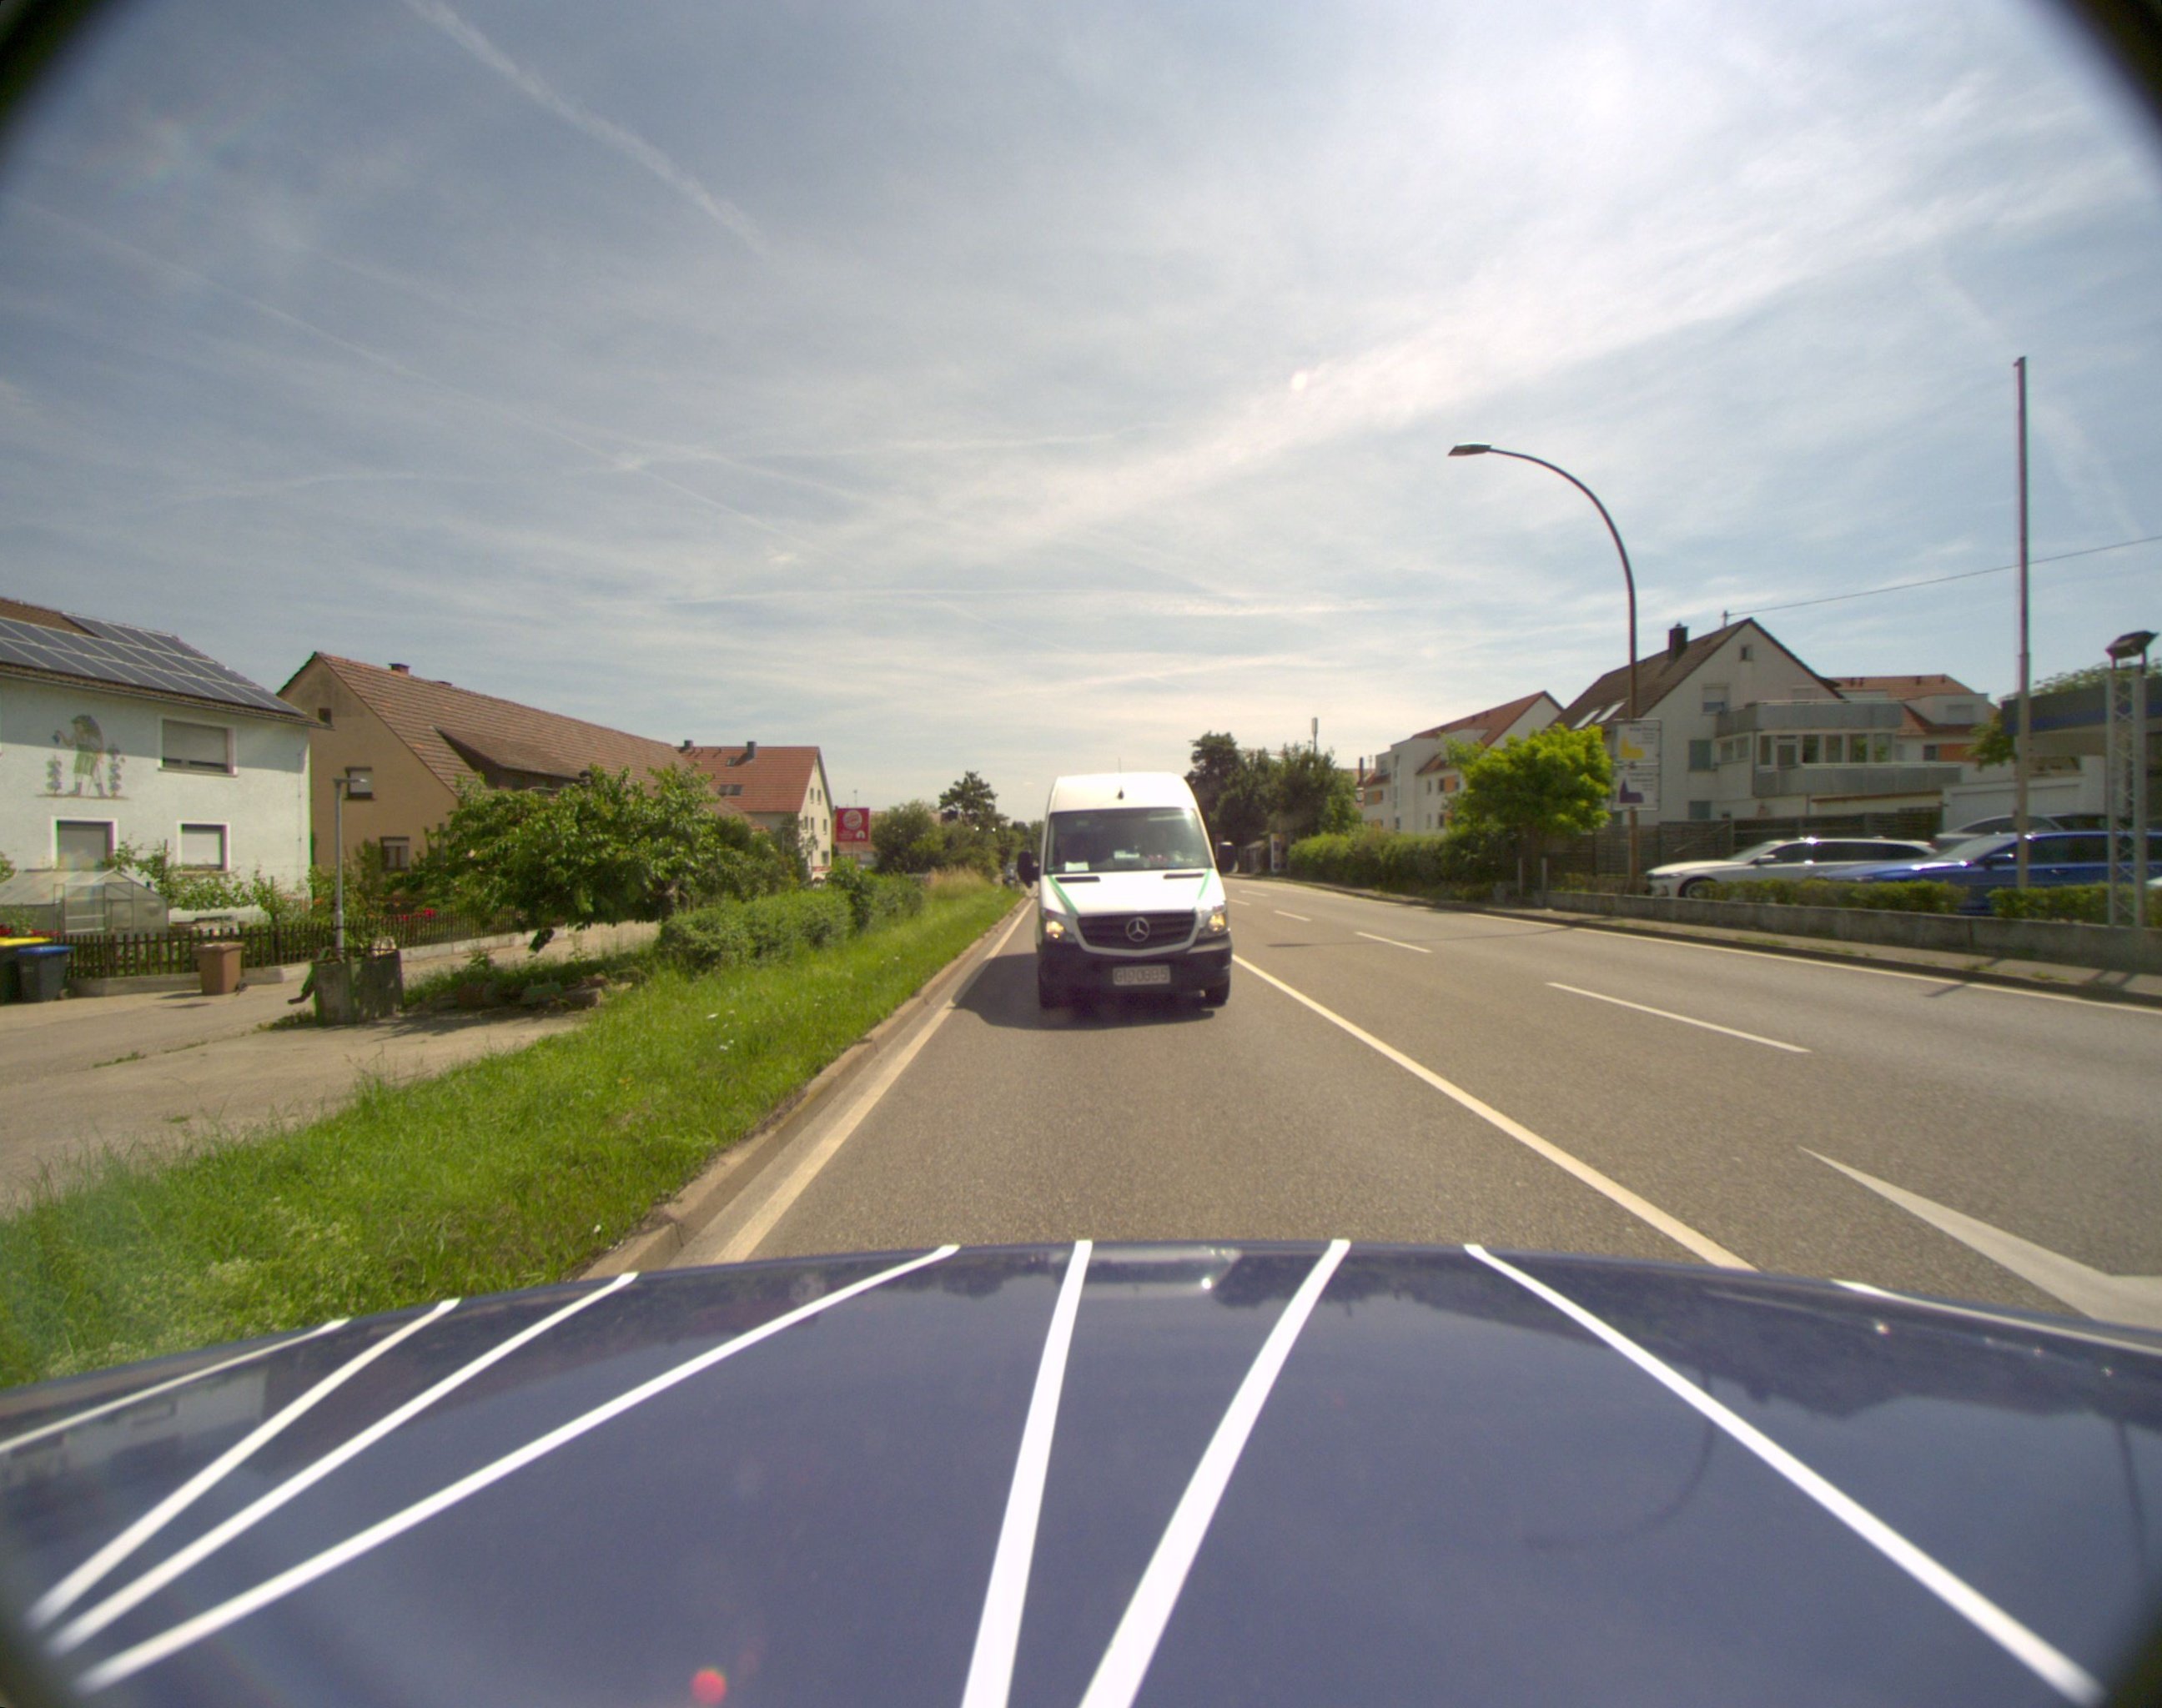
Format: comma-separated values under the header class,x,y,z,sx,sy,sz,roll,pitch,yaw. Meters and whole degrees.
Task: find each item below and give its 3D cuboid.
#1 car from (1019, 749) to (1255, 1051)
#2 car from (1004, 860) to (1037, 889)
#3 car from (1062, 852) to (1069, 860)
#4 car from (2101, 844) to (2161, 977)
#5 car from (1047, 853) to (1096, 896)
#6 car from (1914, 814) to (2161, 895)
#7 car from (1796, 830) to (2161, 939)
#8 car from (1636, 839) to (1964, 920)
class,x,y,z,sx,sy,sz,roll,pitch,yaw
car,0.465,0.389,9.322,1.939,2.514,5.748,-2,0,0
car,-3.524,1.174,44.528,1.636,1.476,3.551,-4,0,-2
car,-4.958,0.684,247.624,1.998,2.573,3.999,-2,1,0
car,13.989,0.508,7.351,4.505,1.439,1.860,-4,0,30
car,-0.403,0.835,33.022,1.884,1.652,4.625,-2,0,-1
car,20.668,-0.027,15.967,1.807,1.456,4.585,-2,0,10
car,14.212,0.440,11.704,4.331,1.439,1.860,-2,1,29
car,14.385,0.510,15.632,4.568,1.439,1.860,-2,1,29
